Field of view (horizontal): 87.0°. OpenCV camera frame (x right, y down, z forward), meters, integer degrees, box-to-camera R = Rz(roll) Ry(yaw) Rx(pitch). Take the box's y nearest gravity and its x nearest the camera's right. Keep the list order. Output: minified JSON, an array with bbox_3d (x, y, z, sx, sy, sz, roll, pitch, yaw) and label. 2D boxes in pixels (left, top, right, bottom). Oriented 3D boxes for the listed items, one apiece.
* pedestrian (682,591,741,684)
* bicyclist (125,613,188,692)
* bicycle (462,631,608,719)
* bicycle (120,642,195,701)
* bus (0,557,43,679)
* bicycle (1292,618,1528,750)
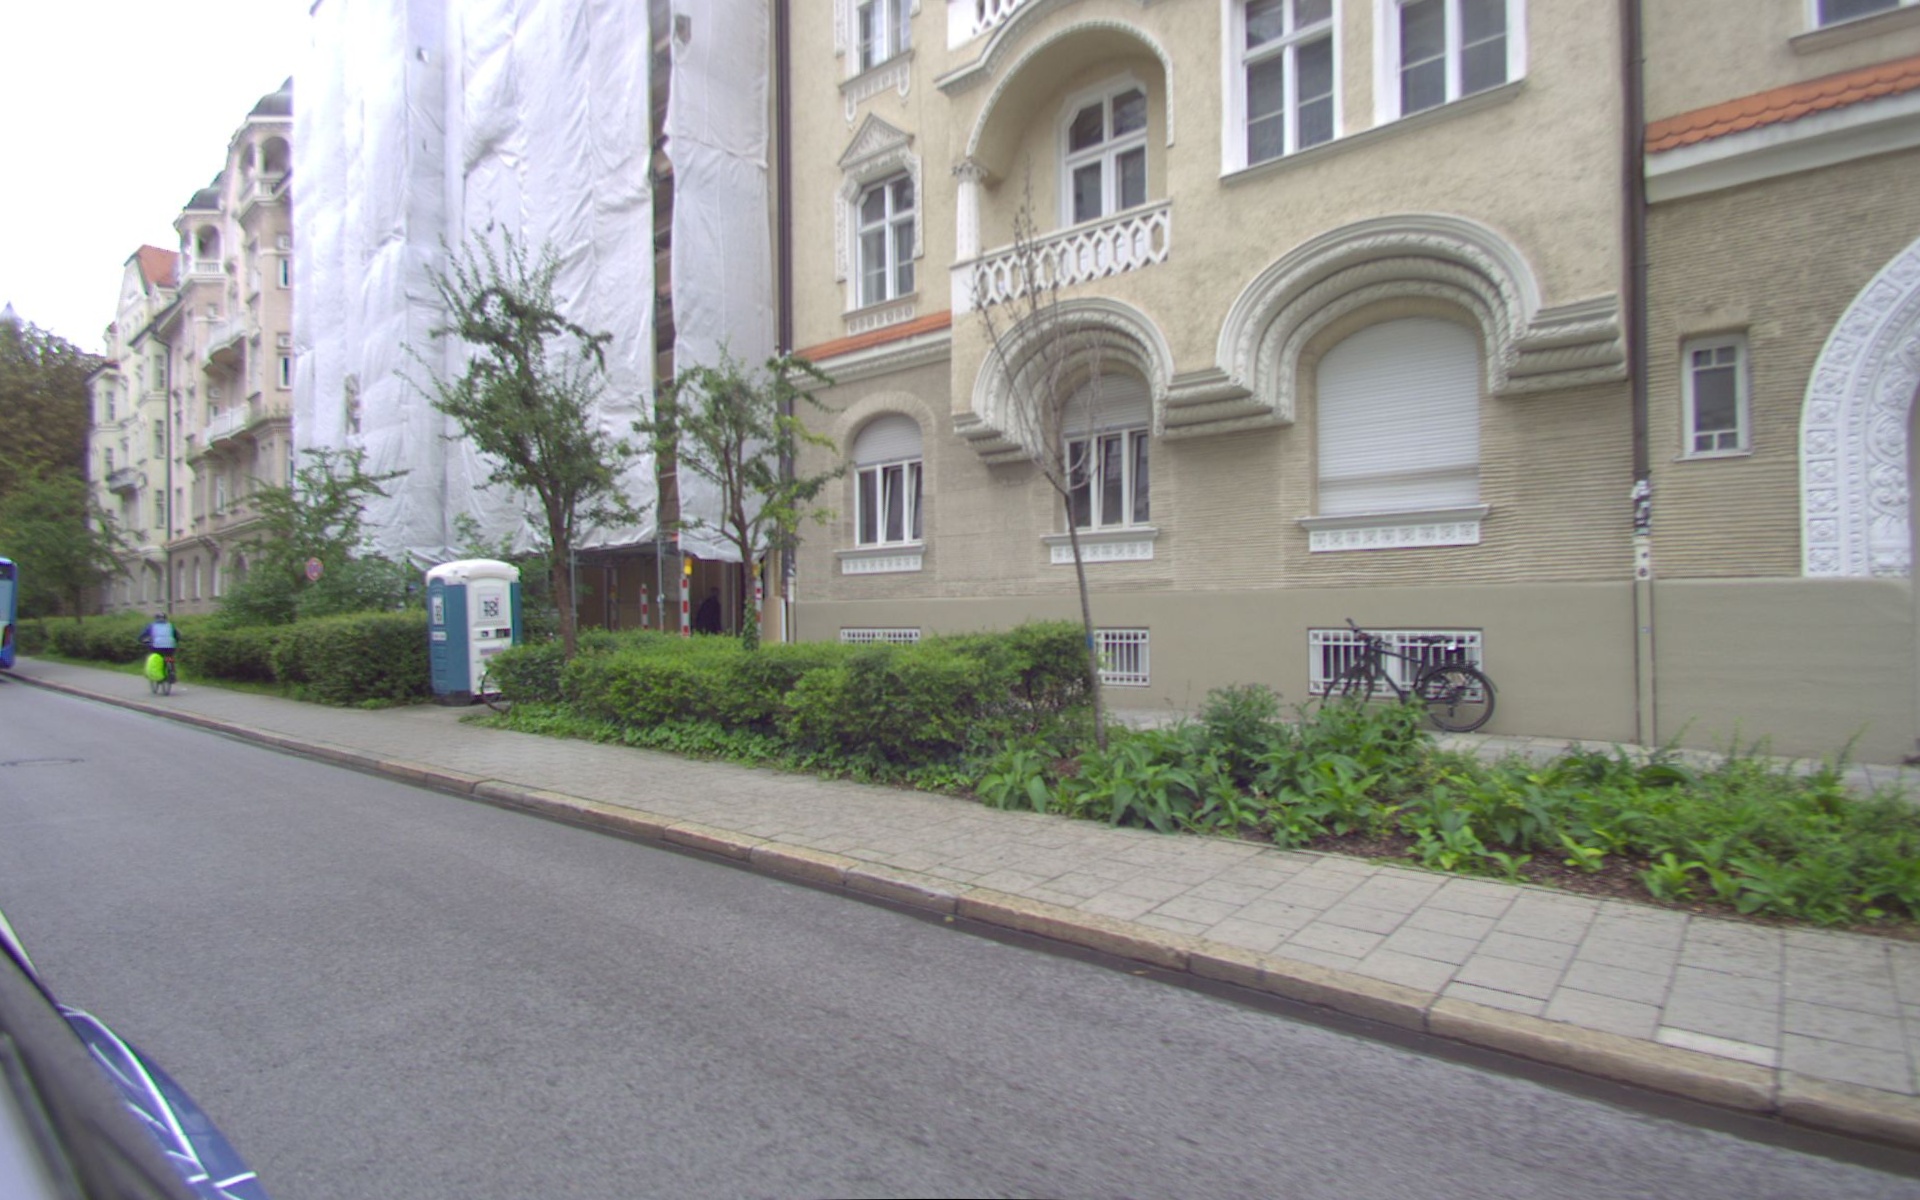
[{"bbox_3d":[-4.812,0.712,19.611,0.772,1.759,0.762,-2,0,39],"label":"pedestrian"},{"bbox_3d":[-16.207,1.043,20.400,1.059,1.504,0.760,-2,0,39],"label":"bicyclist"},{"bbox_3d":[-6.361,1.089,15.230,0.690,1.085,1.840,-2,3,42],"label":"bicycle"},{"bbox_3d":[-16.208,1.417,20.421,2.048,1.090,0.760,-2,0,40],"label":"bicycle"},{"bbox_3d":[-32.760,0.604,32.180,18.047,3.236,3.138,-1,-3,41],"label":"bus"},{"bbox_3d":[4.647,0.823,10.545,2.076,1.215,0.812,-2,0,41],"label":"bicycle"}]
